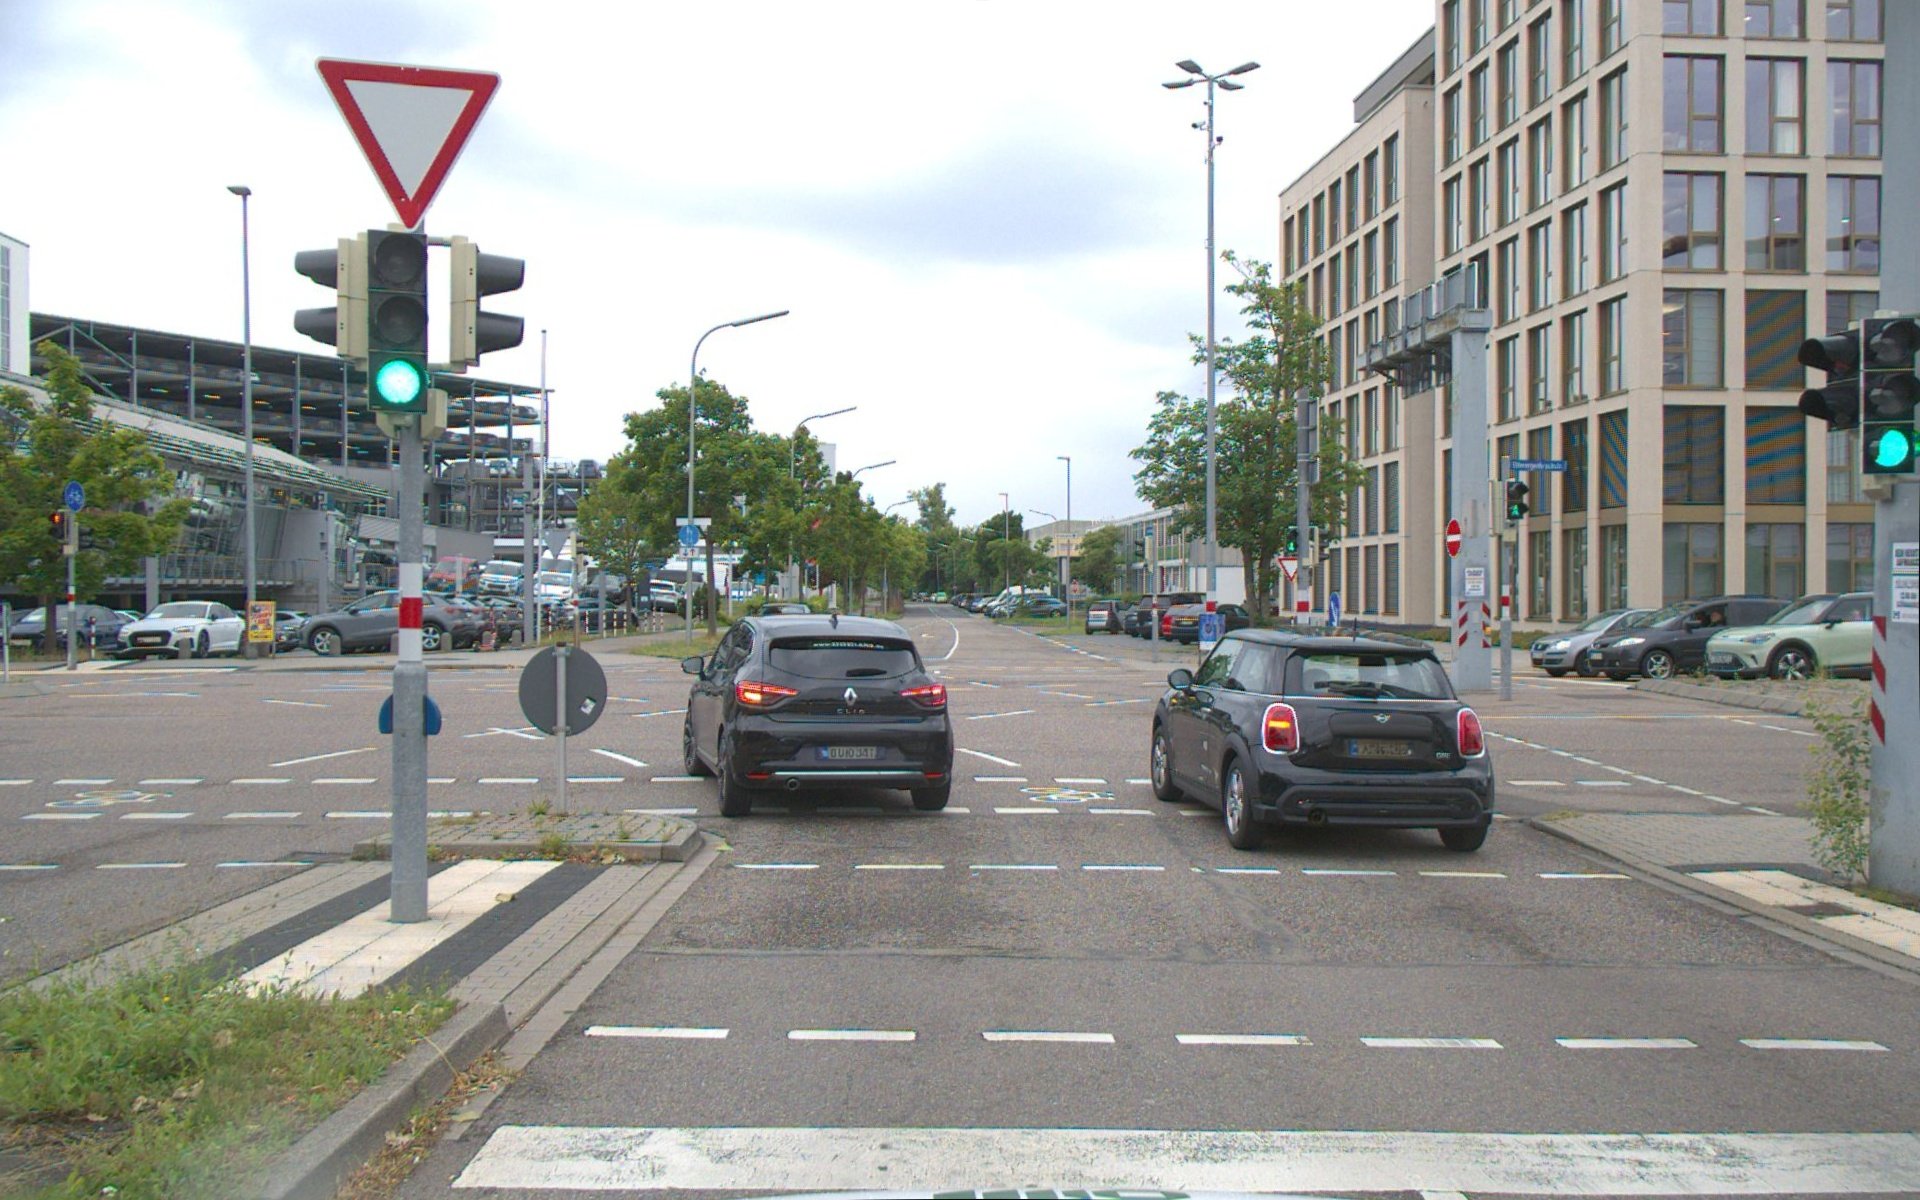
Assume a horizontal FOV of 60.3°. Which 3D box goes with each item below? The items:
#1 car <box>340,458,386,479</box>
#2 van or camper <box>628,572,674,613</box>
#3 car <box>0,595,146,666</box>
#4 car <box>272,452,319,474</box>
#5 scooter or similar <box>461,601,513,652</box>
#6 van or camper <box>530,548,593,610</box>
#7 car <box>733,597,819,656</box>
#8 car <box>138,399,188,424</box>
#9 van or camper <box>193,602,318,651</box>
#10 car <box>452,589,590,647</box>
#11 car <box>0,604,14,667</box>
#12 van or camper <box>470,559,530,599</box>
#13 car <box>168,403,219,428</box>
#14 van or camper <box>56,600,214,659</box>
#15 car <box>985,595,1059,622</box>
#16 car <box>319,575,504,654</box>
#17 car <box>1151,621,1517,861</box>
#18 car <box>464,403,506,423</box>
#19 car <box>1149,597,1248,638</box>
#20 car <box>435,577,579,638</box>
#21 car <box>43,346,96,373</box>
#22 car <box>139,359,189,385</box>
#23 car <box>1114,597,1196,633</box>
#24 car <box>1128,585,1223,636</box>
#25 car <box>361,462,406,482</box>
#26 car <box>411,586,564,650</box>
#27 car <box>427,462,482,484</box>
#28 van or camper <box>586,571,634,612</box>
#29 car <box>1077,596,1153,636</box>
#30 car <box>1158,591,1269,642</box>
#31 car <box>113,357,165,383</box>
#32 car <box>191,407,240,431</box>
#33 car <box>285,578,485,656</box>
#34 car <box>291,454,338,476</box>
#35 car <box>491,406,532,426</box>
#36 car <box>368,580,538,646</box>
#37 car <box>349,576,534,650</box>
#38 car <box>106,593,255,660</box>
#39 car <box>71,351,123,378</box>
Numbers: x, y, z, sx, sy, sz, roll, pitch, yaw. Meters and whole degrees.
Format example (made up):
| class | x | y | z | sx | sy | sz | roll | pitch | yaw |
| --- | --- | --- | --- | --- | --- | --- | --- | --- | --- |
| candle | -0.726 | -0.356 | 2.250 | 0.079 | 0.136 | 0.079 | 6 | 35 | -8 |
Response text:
| class | x | y | z | sx | sy | sz | roll | pitch | yaw |
| --- | --- | --- | --- | --- | --- | --- | --- | --- | --- |
| car | -56.359 | -12.418 | 156.151 | 3.914 | 1.696 | 1.996 | 1 | 0 | 31 |
| van or camper | -16.508 | -0.375 | 88.481 | 1.954 | 2.049 | 3.996 | 2 | -1 | -5 |
| car | -21.469 | 0.771 | 39.678 | 2.023 | 1.512 | 4.510 | -1 | -3 | -6 |
| car | -60.052 | -12.389 | 149.450 | 3.914 | 1.696 | 1.996 | 1 | 0 | 31 |
| scooter or similar | -11.992 | 0.656 | 41.992 | 0.545 | 1.240 | 1.561 | 3 | 1 | 13 |
| van or camper | -21.203 | -1.062 | 88.227 | 2.486 | 3.079 | 4.838 | 2 | -1 | -5 |
| car | -5.142 | 0.702 | 46.794 | 1.938 | 1.578 | 4.613 | 0 | 0 | 0 |
| car | -66.576 | -15.722 | 138.158 | 3.914 | 1.696 | 1.996 | 1 | 0 | 31 |
| van or camper | -26.651 | 1.006 | 62.639 | 3.909 | 1.741 | 1.845 | 2 | -1 | -5 |
| car | -16.851 | 0.700 | 63.626 | 4.798 | 2.049 | 1.997 | -2 | -1 | -6 |
| car | -25.446 | 0.857 | 39.405 | 4.646 | 1.512 | 1.891 | 0 | -3 | -4 |
| van or camper | -21.335 | -0.948 | 76.845 | 1.954 | 1.680 | 3.996 | 2 | -1 | -5 |
| car | -65.043 | -15.645 | 140.342 | 3.914 | 1.696 | 1.996 | 1 | 0 | 31 |
| van or camper | -25.783 | 0.920 | 51.808 | 3.909 | 1.707 | 1.998 | 2 | -1 | -5 |
| car | 4.406 | 0.629 | 117.643 | 5.071 | 1.750 | 2.142 | 2 | -1 | -4 |
| car | -15.577 | 0.415 | 47.160 | 4.610 | 2.049 | 1.998 | -2 | -1 | -6 |
| car | 2.528 | 0.902 | 12.044 | 1.750 | 1.440 | 3.642 | 2 | -1 | -1 |
| car | -48.723 | -19.192 | 169.727 | 3.914 | 1.696 | 1.996 | 1 | 0 | 31 |
| car | 9.410 | 0.708 | 65.174 | 1.856 | 1.578 | 4.105 | -1 | -1 | 44 |
| car | -16.604 | 0.296 | 60.807 | 4.798 | 2.049 | 1.997 | -2 | -1 | -6 |
| car | -70.810 | -19.114 | 131.516 | 3.914 | 1.696 | 1.996 | 1 | 0 | 31 |
| car | -66.616 | -19.103 | 138.438 | 3.914 | 1.696 | 1.996 | 1 | 0 | 31 |
| car | 8.485 | 0.665 | 71.760 | 1.667 | 1.538 | 3.794 | -1 | -1 | 42 |
| car | 8.938 | 0.456 | 68.369 | 1.963 | 2.000 | 4.222 | -1 | -1 | 40 |
| car | -55.303 | -12.273 | 158.604 | 3.914 | 1.696 | 1.996 | 1 | 0 | 31 |
| car | -16.538 | 0.646 | 58.083 | 4.798 | 2.049 | 1.997 | -2 | -1 | -6 |
| car | -51.330 | -12.869 | 167.937 | 5.211 | 1.979 | 2.208 | 1 | 0 | 28 |
| van or camper | -18.659 | -0.437 | 88.245 | 1.954 | 2.049 | 3.996 | 2 | -1 | -5 |
| car | 7.340 | 0.749 | 78.047 | 3.405 | 1.762 | 1.739 | 2 | -1 | -43 |
| car | 9.332 | 0.625 | 60.786 | 4.096 | 1.799 | 1.861 | 1 | -1 | -41 |
| car | -67.616 | -18.949 | 136.235 | 3.914 | 1.696 | 1.996 | 1 | 0 | 31 |
| car | -64.077 | -15.590 | 142.351 | 3.914 | 1.696 | 1.996 | 1 | 0 | 31 |
| car | -15.425 | 0.457 | 44.593 | 4.680 | 1.895 | 1.997 | -2 | -1 | -6 |
| car | -59.094 | -12.333 | 151.441 | 3.914 | 1.696 | 1.996 | 1 | 0 | 31 |
| car | -46.948 | -19.260 | 173.119 | 3.914 | 1.696 | 1.996 | 1 | 0 | 31 |
| car | -16.123 | 0.418 | 52.785 | 4.853 | 1.909 | 2.050 | -2 | -1 | -8 |
| car | -15.657 | 0.400 | 50.166 | 4.926 | 2.049 | 2.263 | -2 | -1 | -6 |
| car | -18.718 | 0.672 | 39.926 | 1.832 | 1.512 | 4.225 | -1 | -2 | -4 |
| car | -69.745 | -19.048 | 133.713 | 3.914 | 1.696 | 1.996 | 1 | 0 | 31 |
